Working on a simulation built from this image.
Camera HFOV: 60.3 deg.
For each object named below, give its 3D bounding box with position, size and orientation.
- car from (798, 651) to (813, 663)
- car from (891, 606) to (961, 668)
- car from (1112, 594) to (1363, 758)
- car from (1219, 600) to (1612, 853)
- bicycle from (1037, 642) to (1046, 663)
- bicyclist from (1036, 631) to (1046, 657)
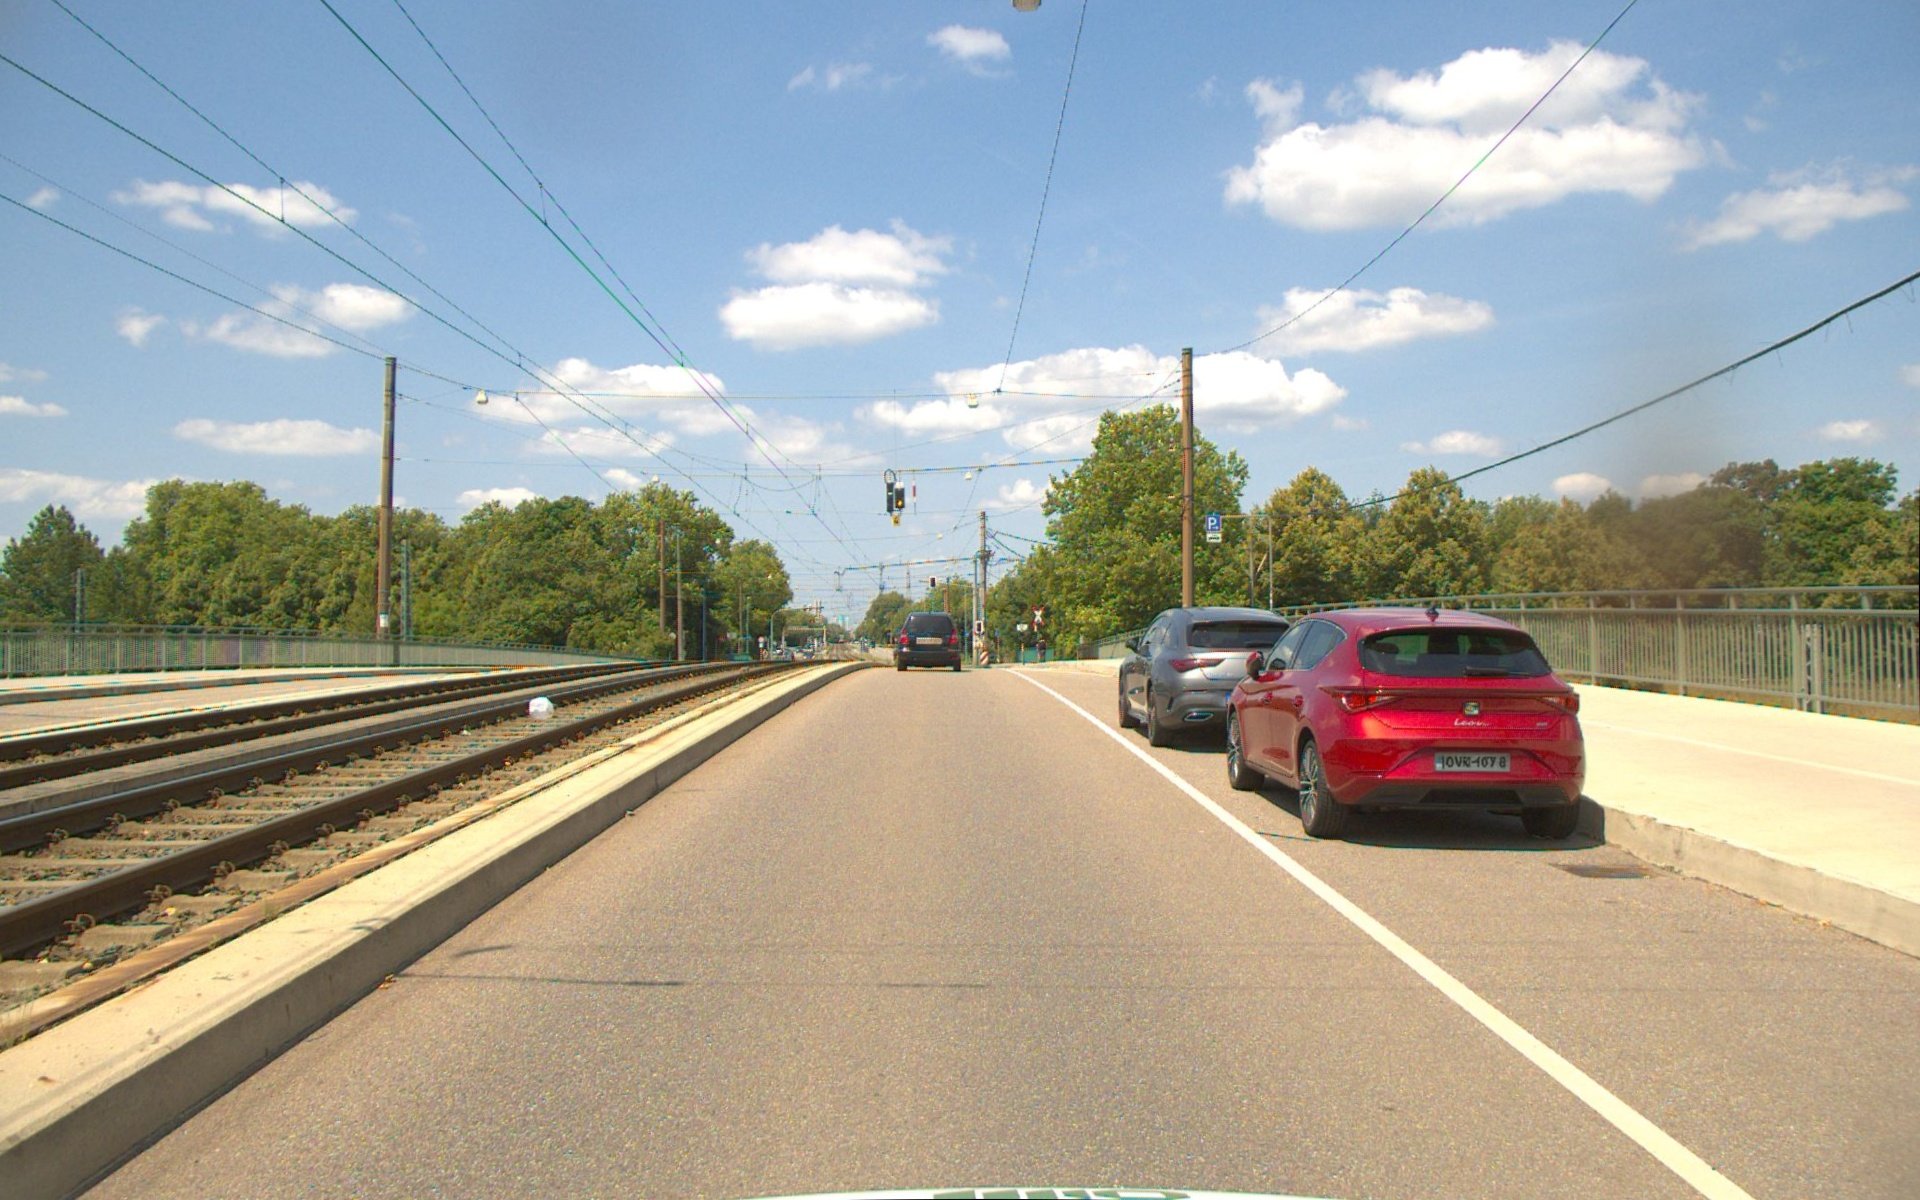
[{"bbox_3d":[-20.876,7.657,223.580,1.670,1.537,3.732,-2,-2,0],"label":"car"},{"bbox_3d":[-0.930,0.986,45.835,1.815,1.597,4.387,0,0,-1],"label":"car"},{"bbox_3d":[2.936,0.736,18.564,1.953,1.579,4.720,1,0,-1],"label":"car"},{"bbox_3d":[3.077,0.762,12.081,1.613,1.485,4.284,1,0,-1],"label":"car"},{"bbox_3d":[4.668,3.029,95.273,0.423,1.172,1.855,1,0,0],"label":"bicycle"},{"bbox_3d":[4.664,2.537,95.276,0.573,1.521,0.558,1,-1,0],"label":"bicyclist"}]
